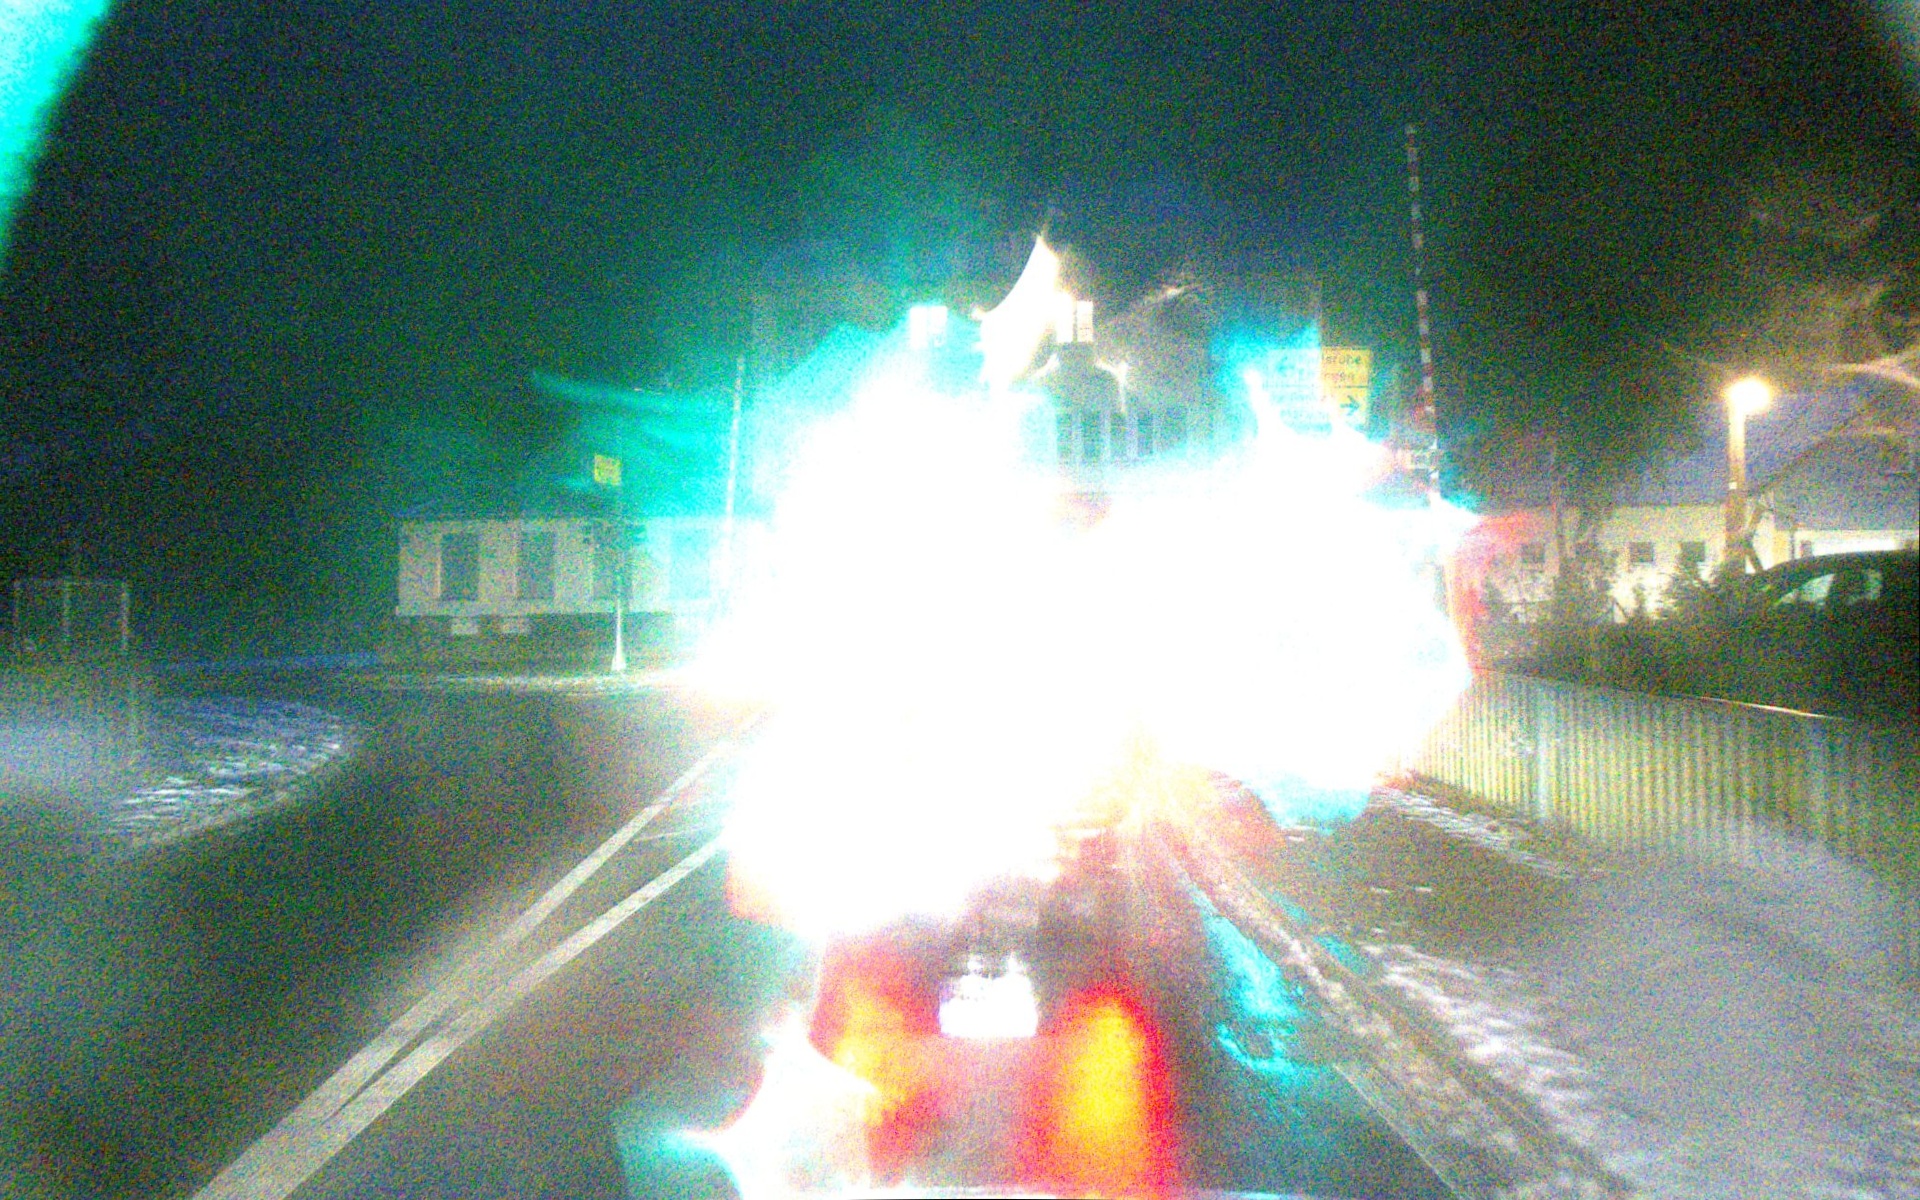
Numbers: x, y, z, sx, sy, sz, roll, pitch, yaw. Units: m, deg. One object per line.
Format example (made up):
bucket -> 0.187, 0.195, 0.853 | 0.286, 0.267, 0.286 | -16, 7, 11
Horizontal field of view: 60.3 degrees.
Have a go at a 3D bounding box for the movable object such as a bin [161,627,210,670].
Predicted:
movable object such as a bin -> -25.087, 1.567, 53.609 | 1.295, 1.321, 1.243 | 1, -1, -21

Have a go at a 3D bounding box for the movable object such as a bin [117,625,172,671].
movable object such as a bin -> -26.238, 1.544, 53.240 | 1.364, 1.438, 1.245 | 2, -1, -16

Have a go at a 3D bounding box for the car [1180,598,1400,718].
car -> 6.181, 1.070, 30.752 | 4.217, 1.981, 1.750 | 2, 2, -42

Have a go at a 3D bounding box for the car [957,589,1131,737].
car -> 1.034, 0.692, 20.498 | 1.870, 1.537, 4.242 | -3, 0, 3

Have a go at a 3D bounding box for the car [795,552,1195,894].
car -> 0.135, 0.639, 10.566 | 2.016, 1.707, 4.138 | 1, 0, -1

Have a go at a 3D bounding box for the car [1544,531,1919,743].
car -> 7.578, 0.253, 14.395 | 4.372, 1.613, 1.941 | -3, 1, 10

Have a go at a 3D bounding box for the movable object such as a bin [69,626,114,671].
movable object such as a bin -> -27.635, 1.528, 52.659 | 1.213, 1.348, 1.144 | -1, 1, -26
